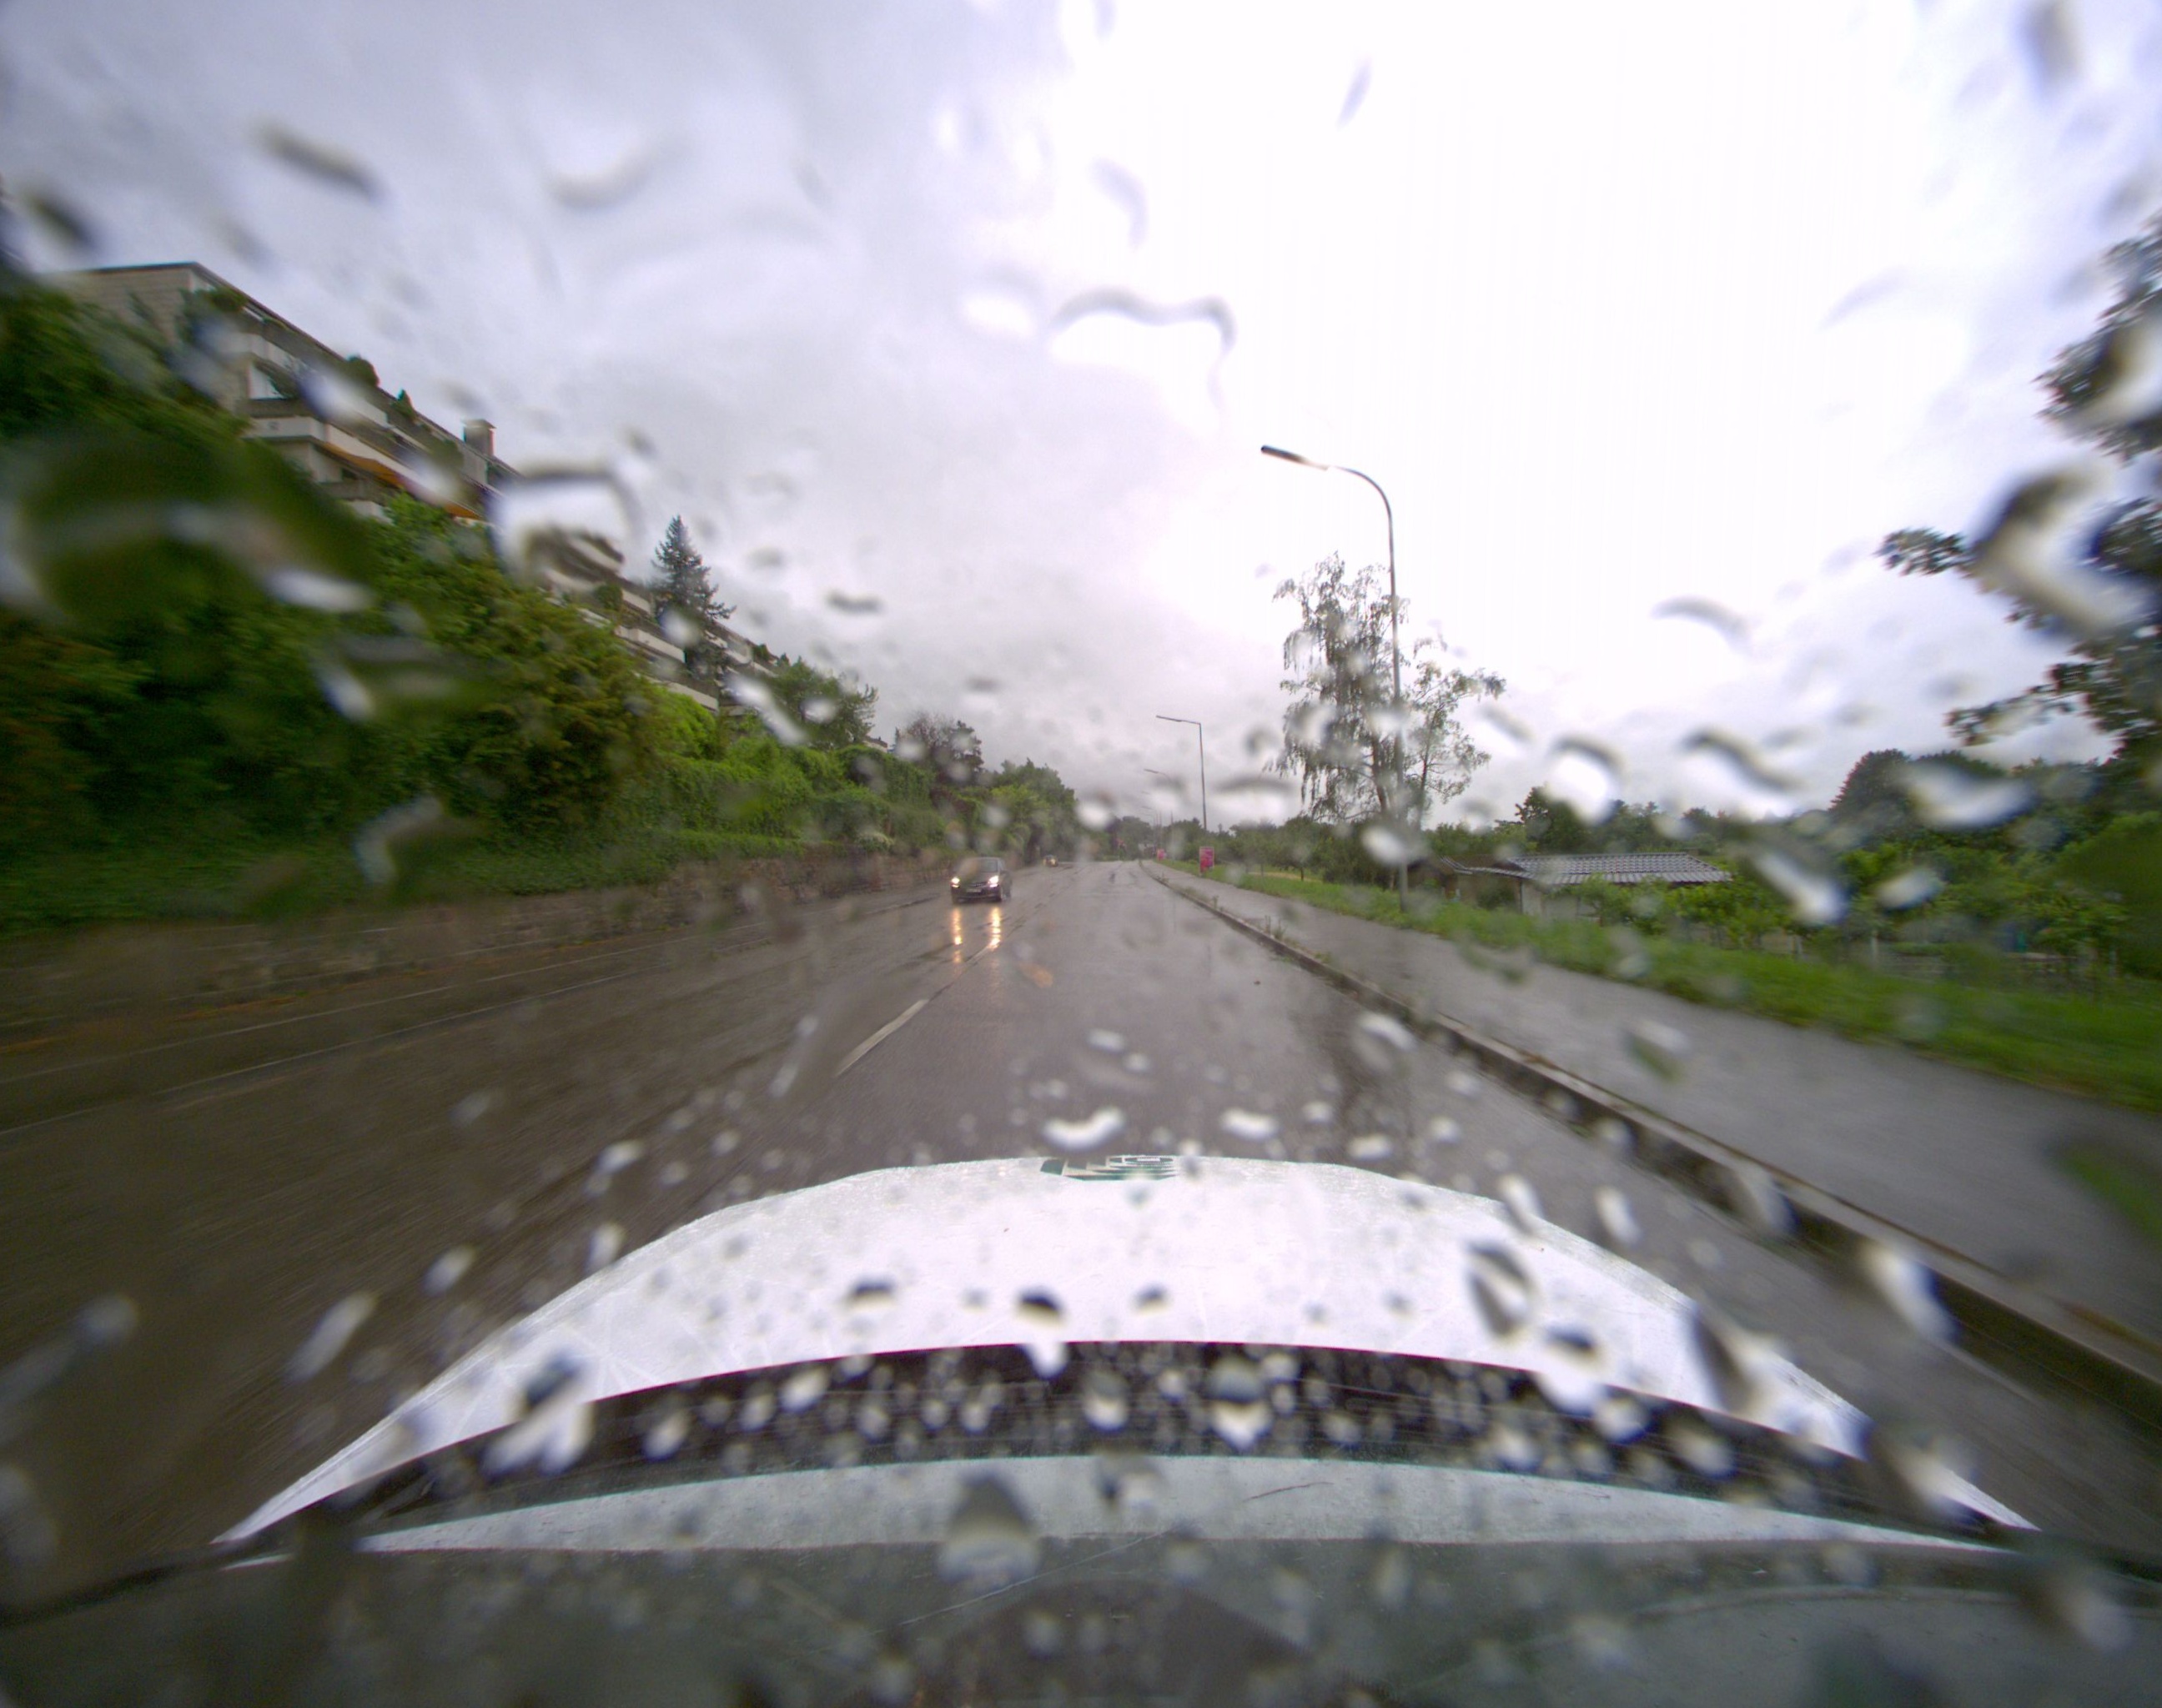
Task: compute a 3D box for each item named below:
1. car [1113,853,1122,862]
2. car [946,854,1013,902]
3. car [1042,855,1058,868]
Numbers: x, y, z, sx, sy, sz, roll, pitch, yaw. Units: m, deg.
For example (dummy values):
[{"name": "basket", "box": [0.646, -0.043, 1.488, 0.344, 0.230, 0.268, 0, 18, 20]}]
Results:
[{"name": "car", "box": [8.563, 0.889, 190.938, 1.986, 2.014, 4.001, -1, 0, 2]}, {"name": "car", "box": [-3.463, 0.780, 28.489, 1.754, 1.496, 4.127, -2, 0, 0]}, {"name": "car", "box": [-3.823, 0.921, 100.825, 1.722, 1.496, 3.986, -2, 0, -1]}]
